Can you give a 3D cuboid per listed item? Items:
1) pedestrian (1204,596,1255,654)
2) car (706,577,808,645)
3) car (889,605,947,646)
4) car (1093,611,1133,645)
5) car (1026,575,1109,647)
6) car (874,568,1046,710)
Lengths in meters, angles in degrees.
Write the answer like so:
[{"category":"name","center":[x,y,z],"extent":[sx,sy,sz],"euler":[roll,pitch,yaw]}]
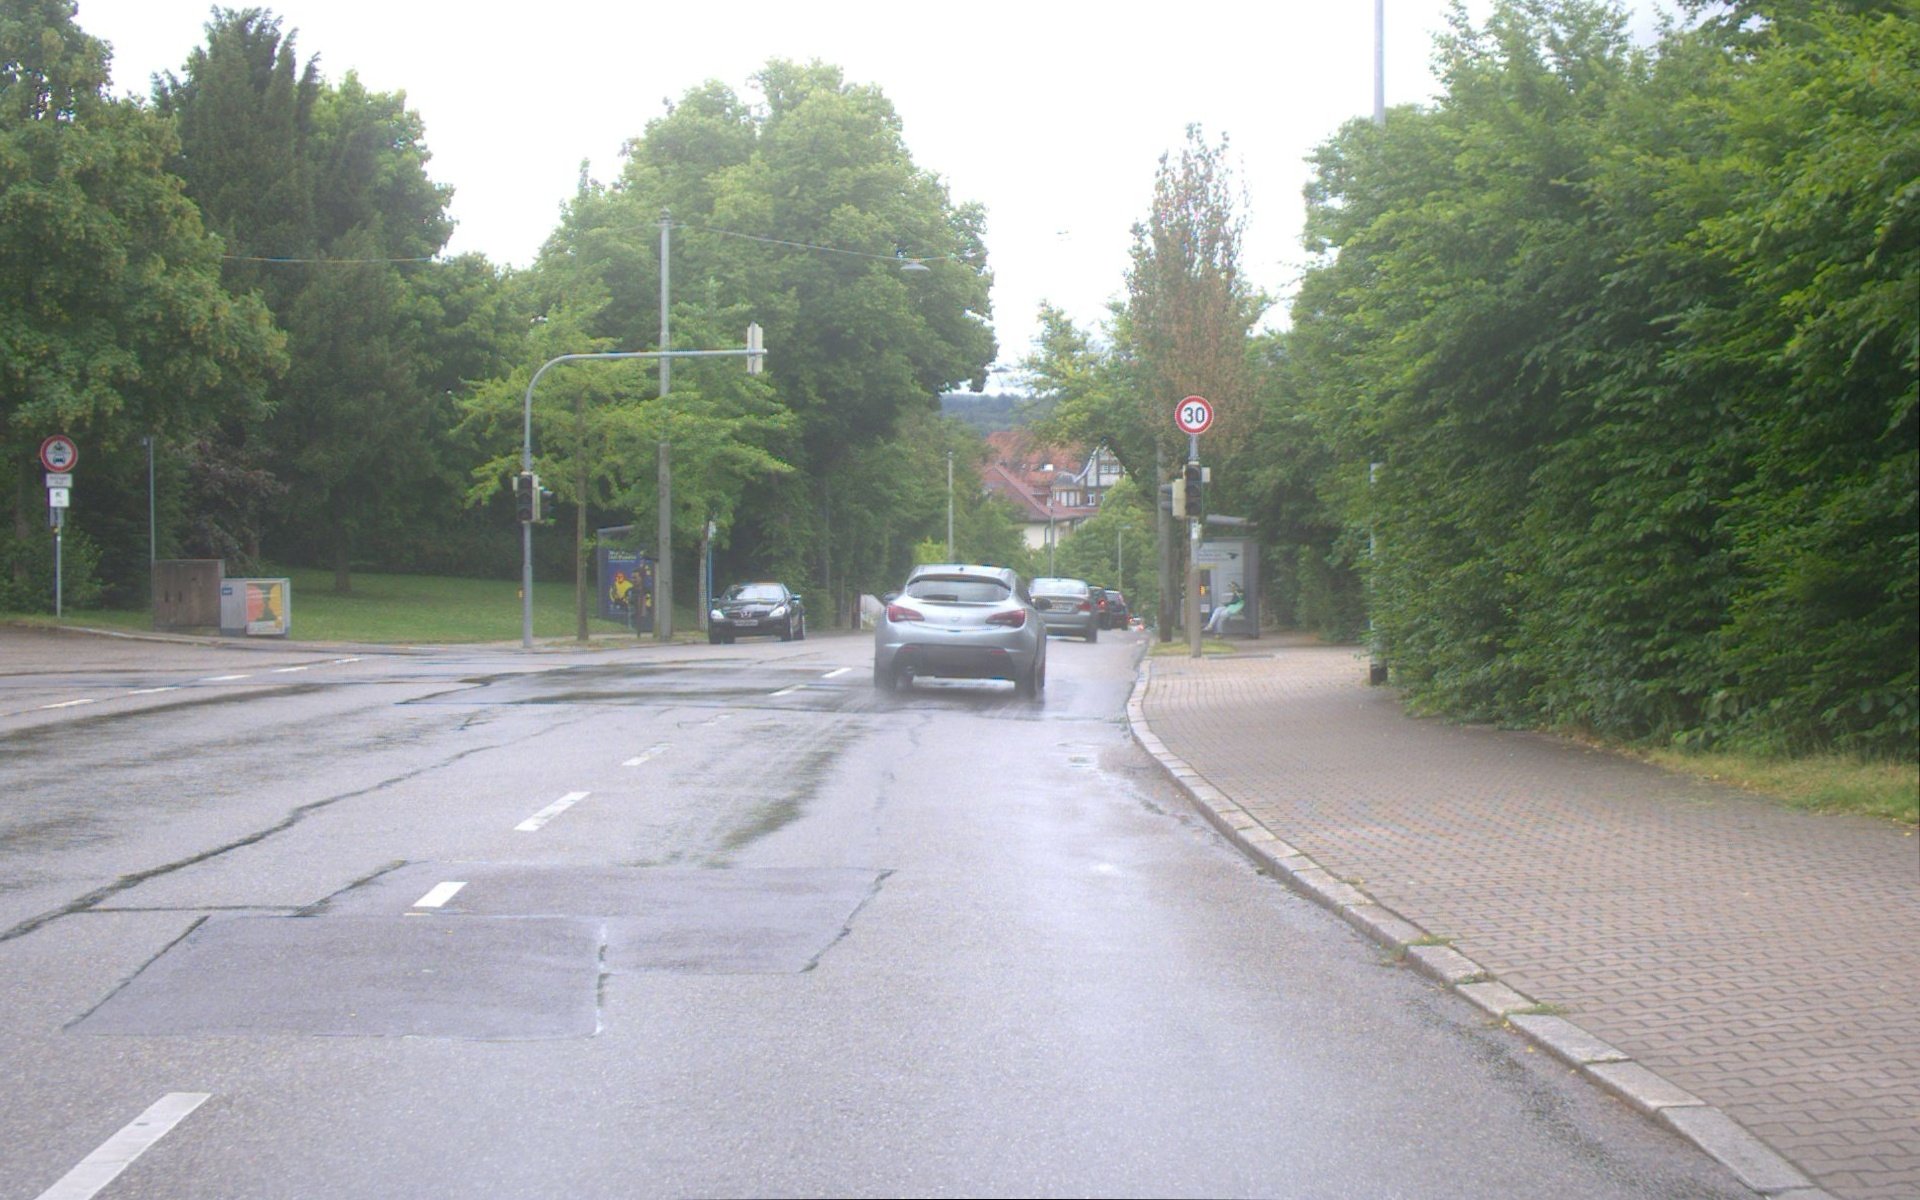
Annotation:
[{"category":"pedestrian","center":[6.289,0.586,80.175],"extent":[1.074,1.351,0.918],"euler":[0,0,11]},{"category":"car","center":[-4.300,0.216,73.354],"extent":[1.661,1.302,4.083],"euler":[-1,1,4]},{"category":"car","center":[-1.498,0.917,124.668],"extent":[1.722,1.394,3.999],"euler":[3,0,4]},{"category":"car","center":[7.121,1.296,160.085],"extent":[1.721,1.459,4.000],"euler":[4,0,2]},{"category":"car","center":[2.415,0.249,77.107],"extent":[1.721,1.459,4.000],"euler":[4,0,2]},{"category":"car","center":[0.053,0.406,39.712],"extent":[1.754,1.459,4.000],"euler":[3,1,2]}]
